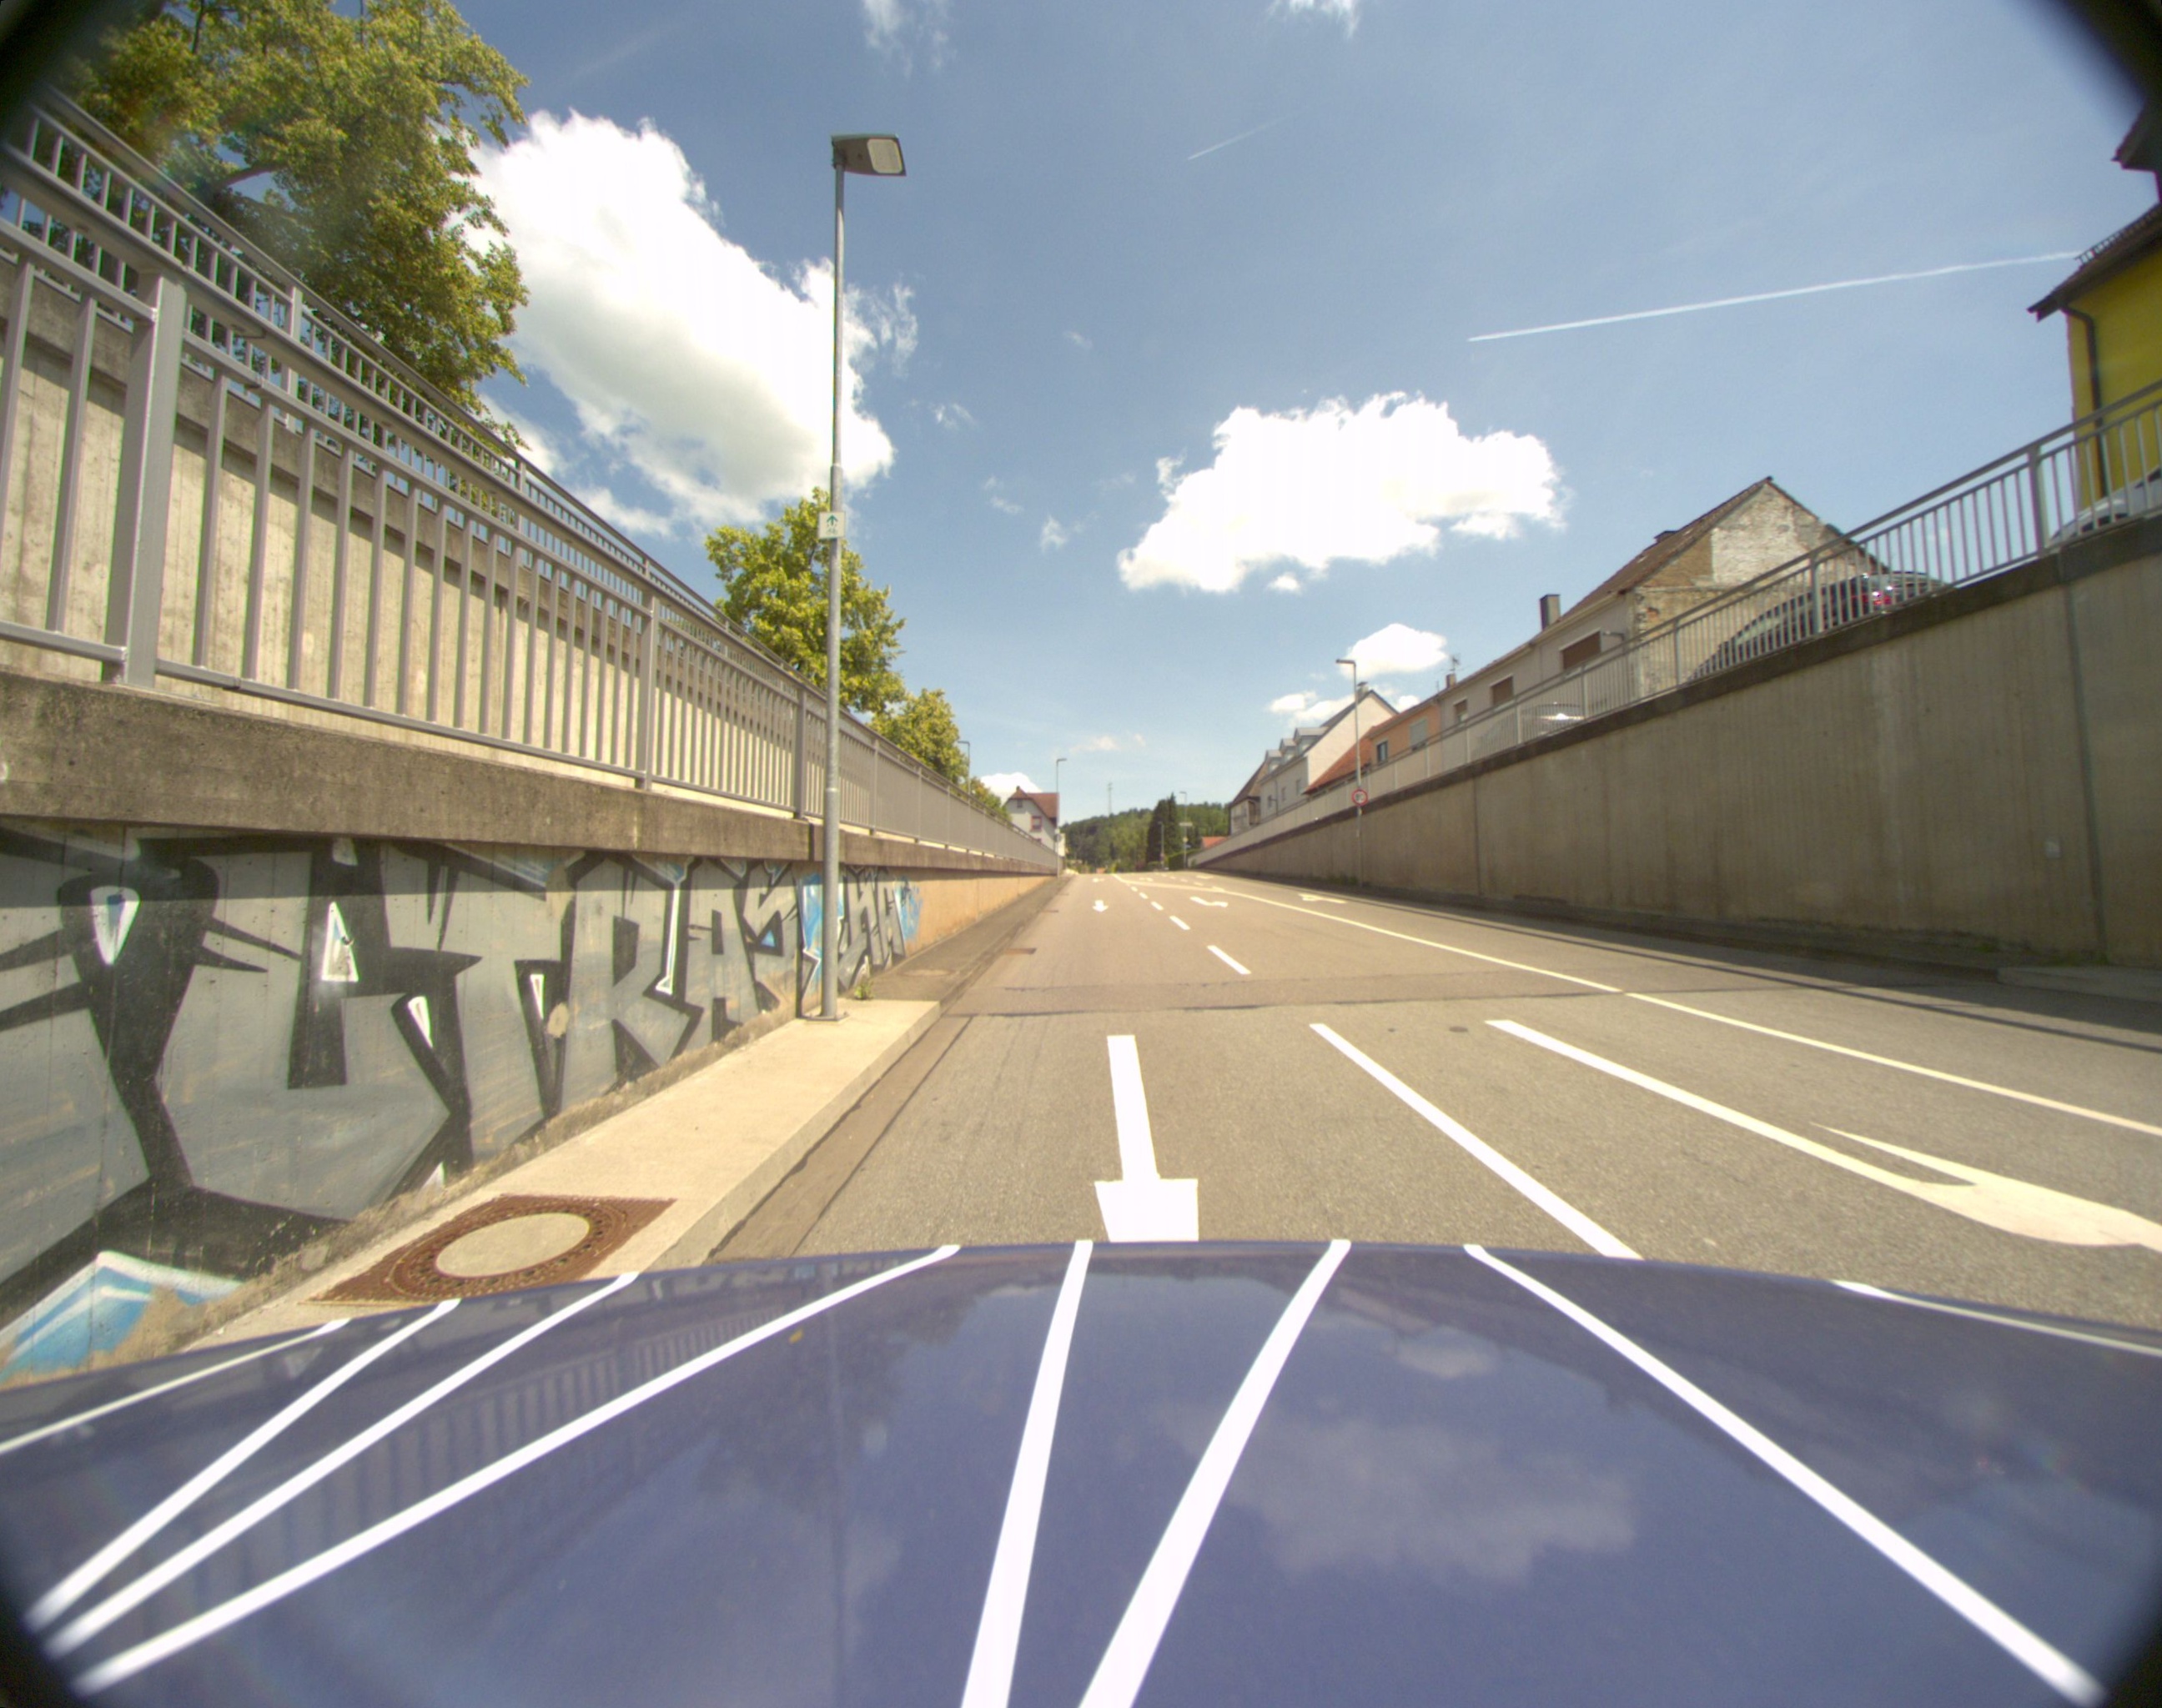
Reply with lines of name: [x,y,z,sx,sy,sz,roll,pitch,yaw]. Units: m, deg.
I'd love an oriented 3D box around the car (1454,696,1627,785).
car: [11.929,-2.879,20.137,1.803,1.515,4.394,-1,-2,-1]

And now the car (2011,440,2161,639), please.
car: [12.098,-3.482,7.064,1.907,1.657,4.001,-1,-2,-1]

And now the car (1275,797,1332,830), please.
car: [12.354,-2.208,42.388,1.790,1.396,4.394,-1,-2,-1]

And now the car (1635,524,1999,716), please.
car: [11.677,-3.611,12.574,1.827,1.695,4.223,-1,-2,-1]
